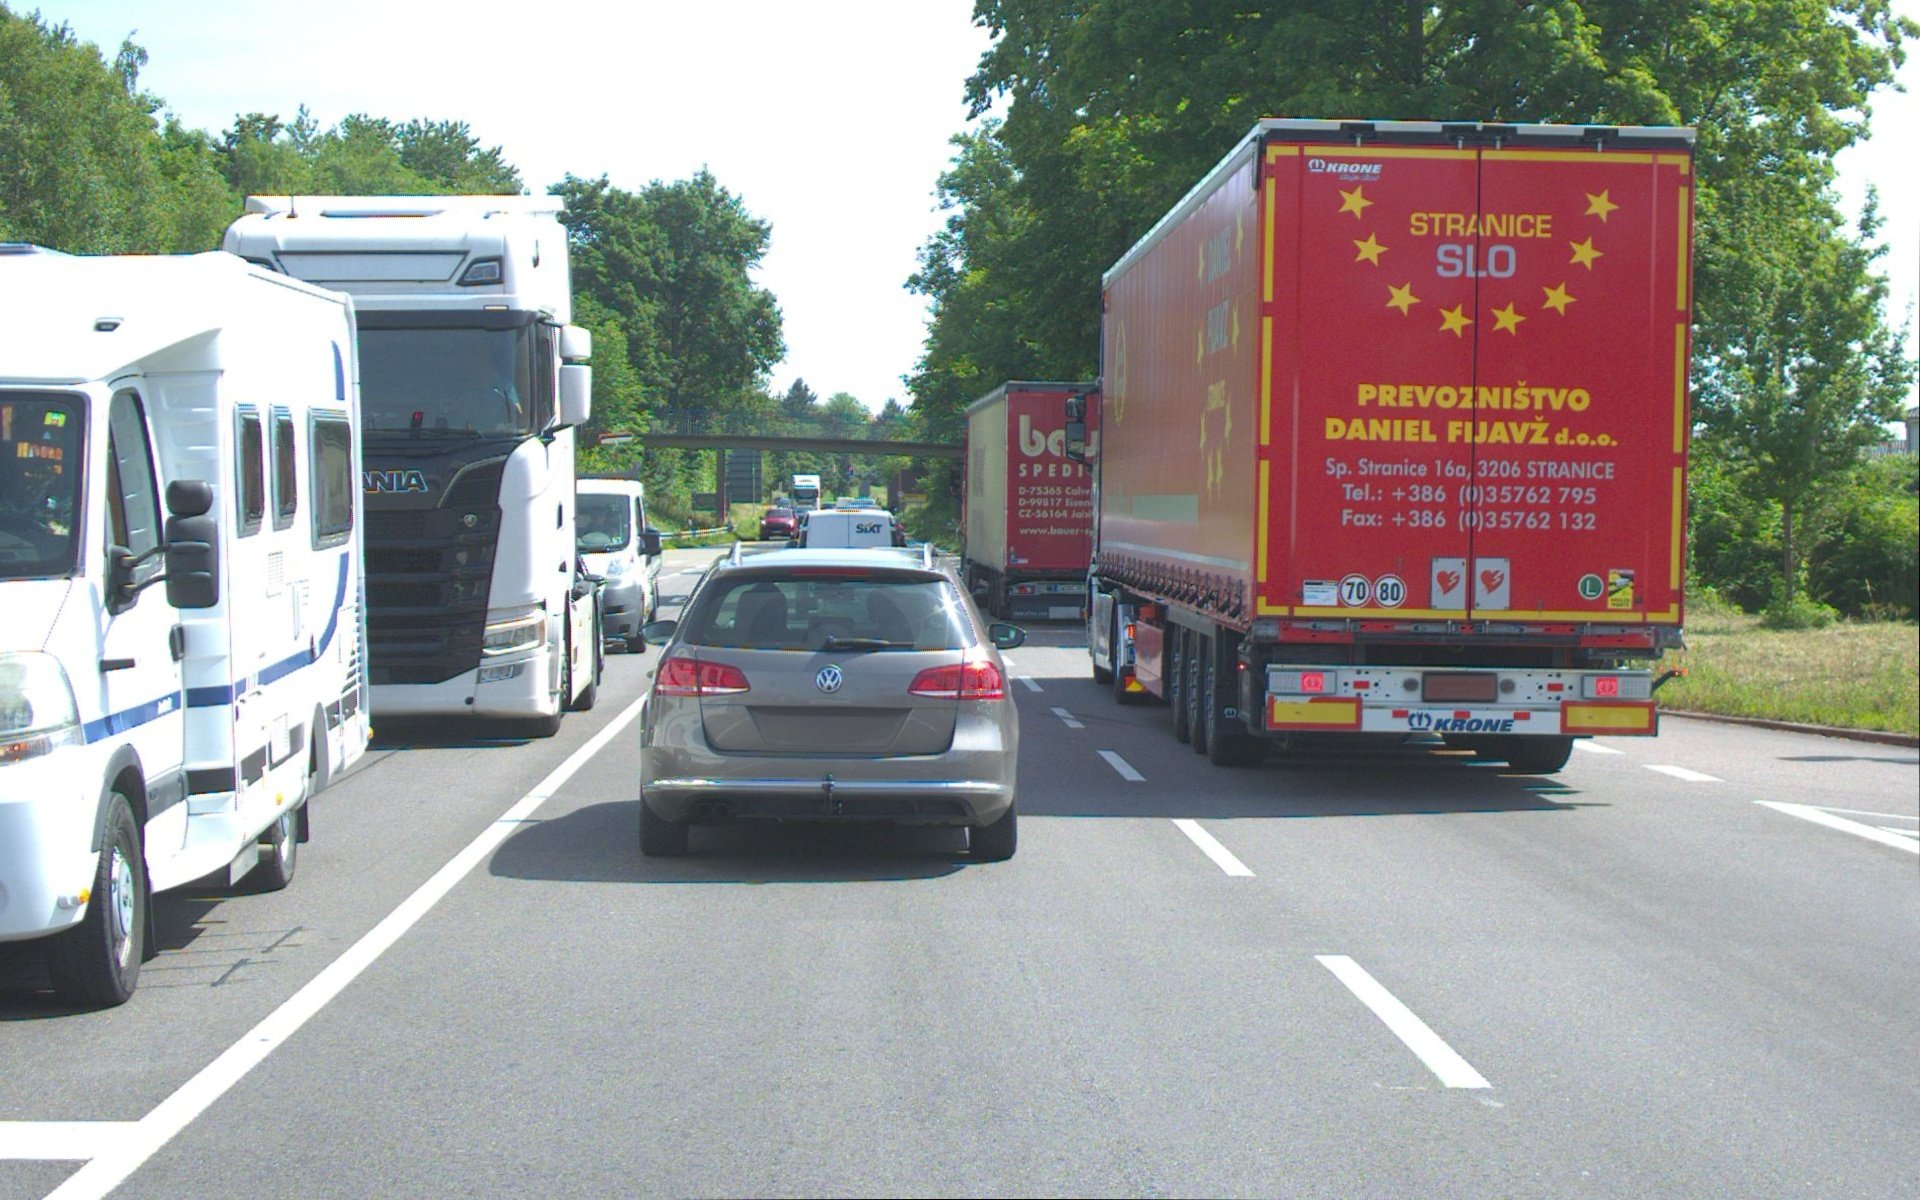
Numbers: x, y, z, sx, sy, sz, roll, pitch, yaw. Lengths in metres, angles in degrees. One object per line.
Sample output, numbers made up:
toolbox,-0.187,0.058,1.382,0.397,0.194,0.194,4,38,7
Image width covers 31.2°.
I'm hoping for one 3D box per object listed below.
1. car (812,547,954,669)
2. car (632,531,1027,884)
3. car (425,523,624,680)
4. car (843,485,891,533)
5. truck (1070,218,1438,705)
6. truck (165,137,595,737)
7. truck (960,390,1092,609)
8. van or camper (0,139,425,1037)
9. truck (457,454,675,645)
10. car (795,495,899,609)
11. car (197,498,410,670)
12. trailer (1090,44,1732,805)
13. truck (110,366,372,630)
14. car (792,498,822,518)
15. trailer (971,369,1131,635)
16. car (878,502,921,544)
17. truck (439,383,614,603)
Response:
car,-1.060,0.074,45.490,1.770,1.508,4.001,-1,1,-3
car,-0.655,0.433,16.957,1.691,1.508,4.001,-1,1,-3
car,-4.573,-0.020,36.560,1.710,1.546,4.109,-1,1,-2
car,-3.990,-3.871,146.872,1.993,2.007,4.001,-1,1,-2
truck,2.701,-1.275,33.442,2.870,4.266,5.839,1,1,-1
truck,-4.307,-1.171,26.702,2.536,4.074,6.267,-1,1,-3
truck,1.249,-1.949,68.025,2.406,4.113,5.521,-1,1,0
van or camper,-3.730,-0.076,13.395,2.330,2.591,6.979,-1,1,-1
truck,-4.993,-0.659,44.519,2.227,2.260,6.500,-1,1,-2
car,-2.045,-0.864,61.409,1.770,1.930,3.978,-1,1,-3
car,-8.082,-0.220,42.677,1.993,2.007,4.001,-1,1,-2
trailer,2.857,-1.124,26.484,2.839,4.350,13.168,1,1,-1
truck,-12.116,-1.683,58.818,2.829,4.102,9.684,-1,1,-3
car,-10.931,-6.566,245.928,1.963,1.410,4.000,0,1,0
trailer,1.476,-1.689,61.760,2.395,4.229,13.078,-1,1,0
car,-2.997,-3.784,169.153,1.993,2.007,4.001,-1,1,-2
truck,-7.314,-1.787,58.704,2.343,3.508,6.698,-1,1,-2
